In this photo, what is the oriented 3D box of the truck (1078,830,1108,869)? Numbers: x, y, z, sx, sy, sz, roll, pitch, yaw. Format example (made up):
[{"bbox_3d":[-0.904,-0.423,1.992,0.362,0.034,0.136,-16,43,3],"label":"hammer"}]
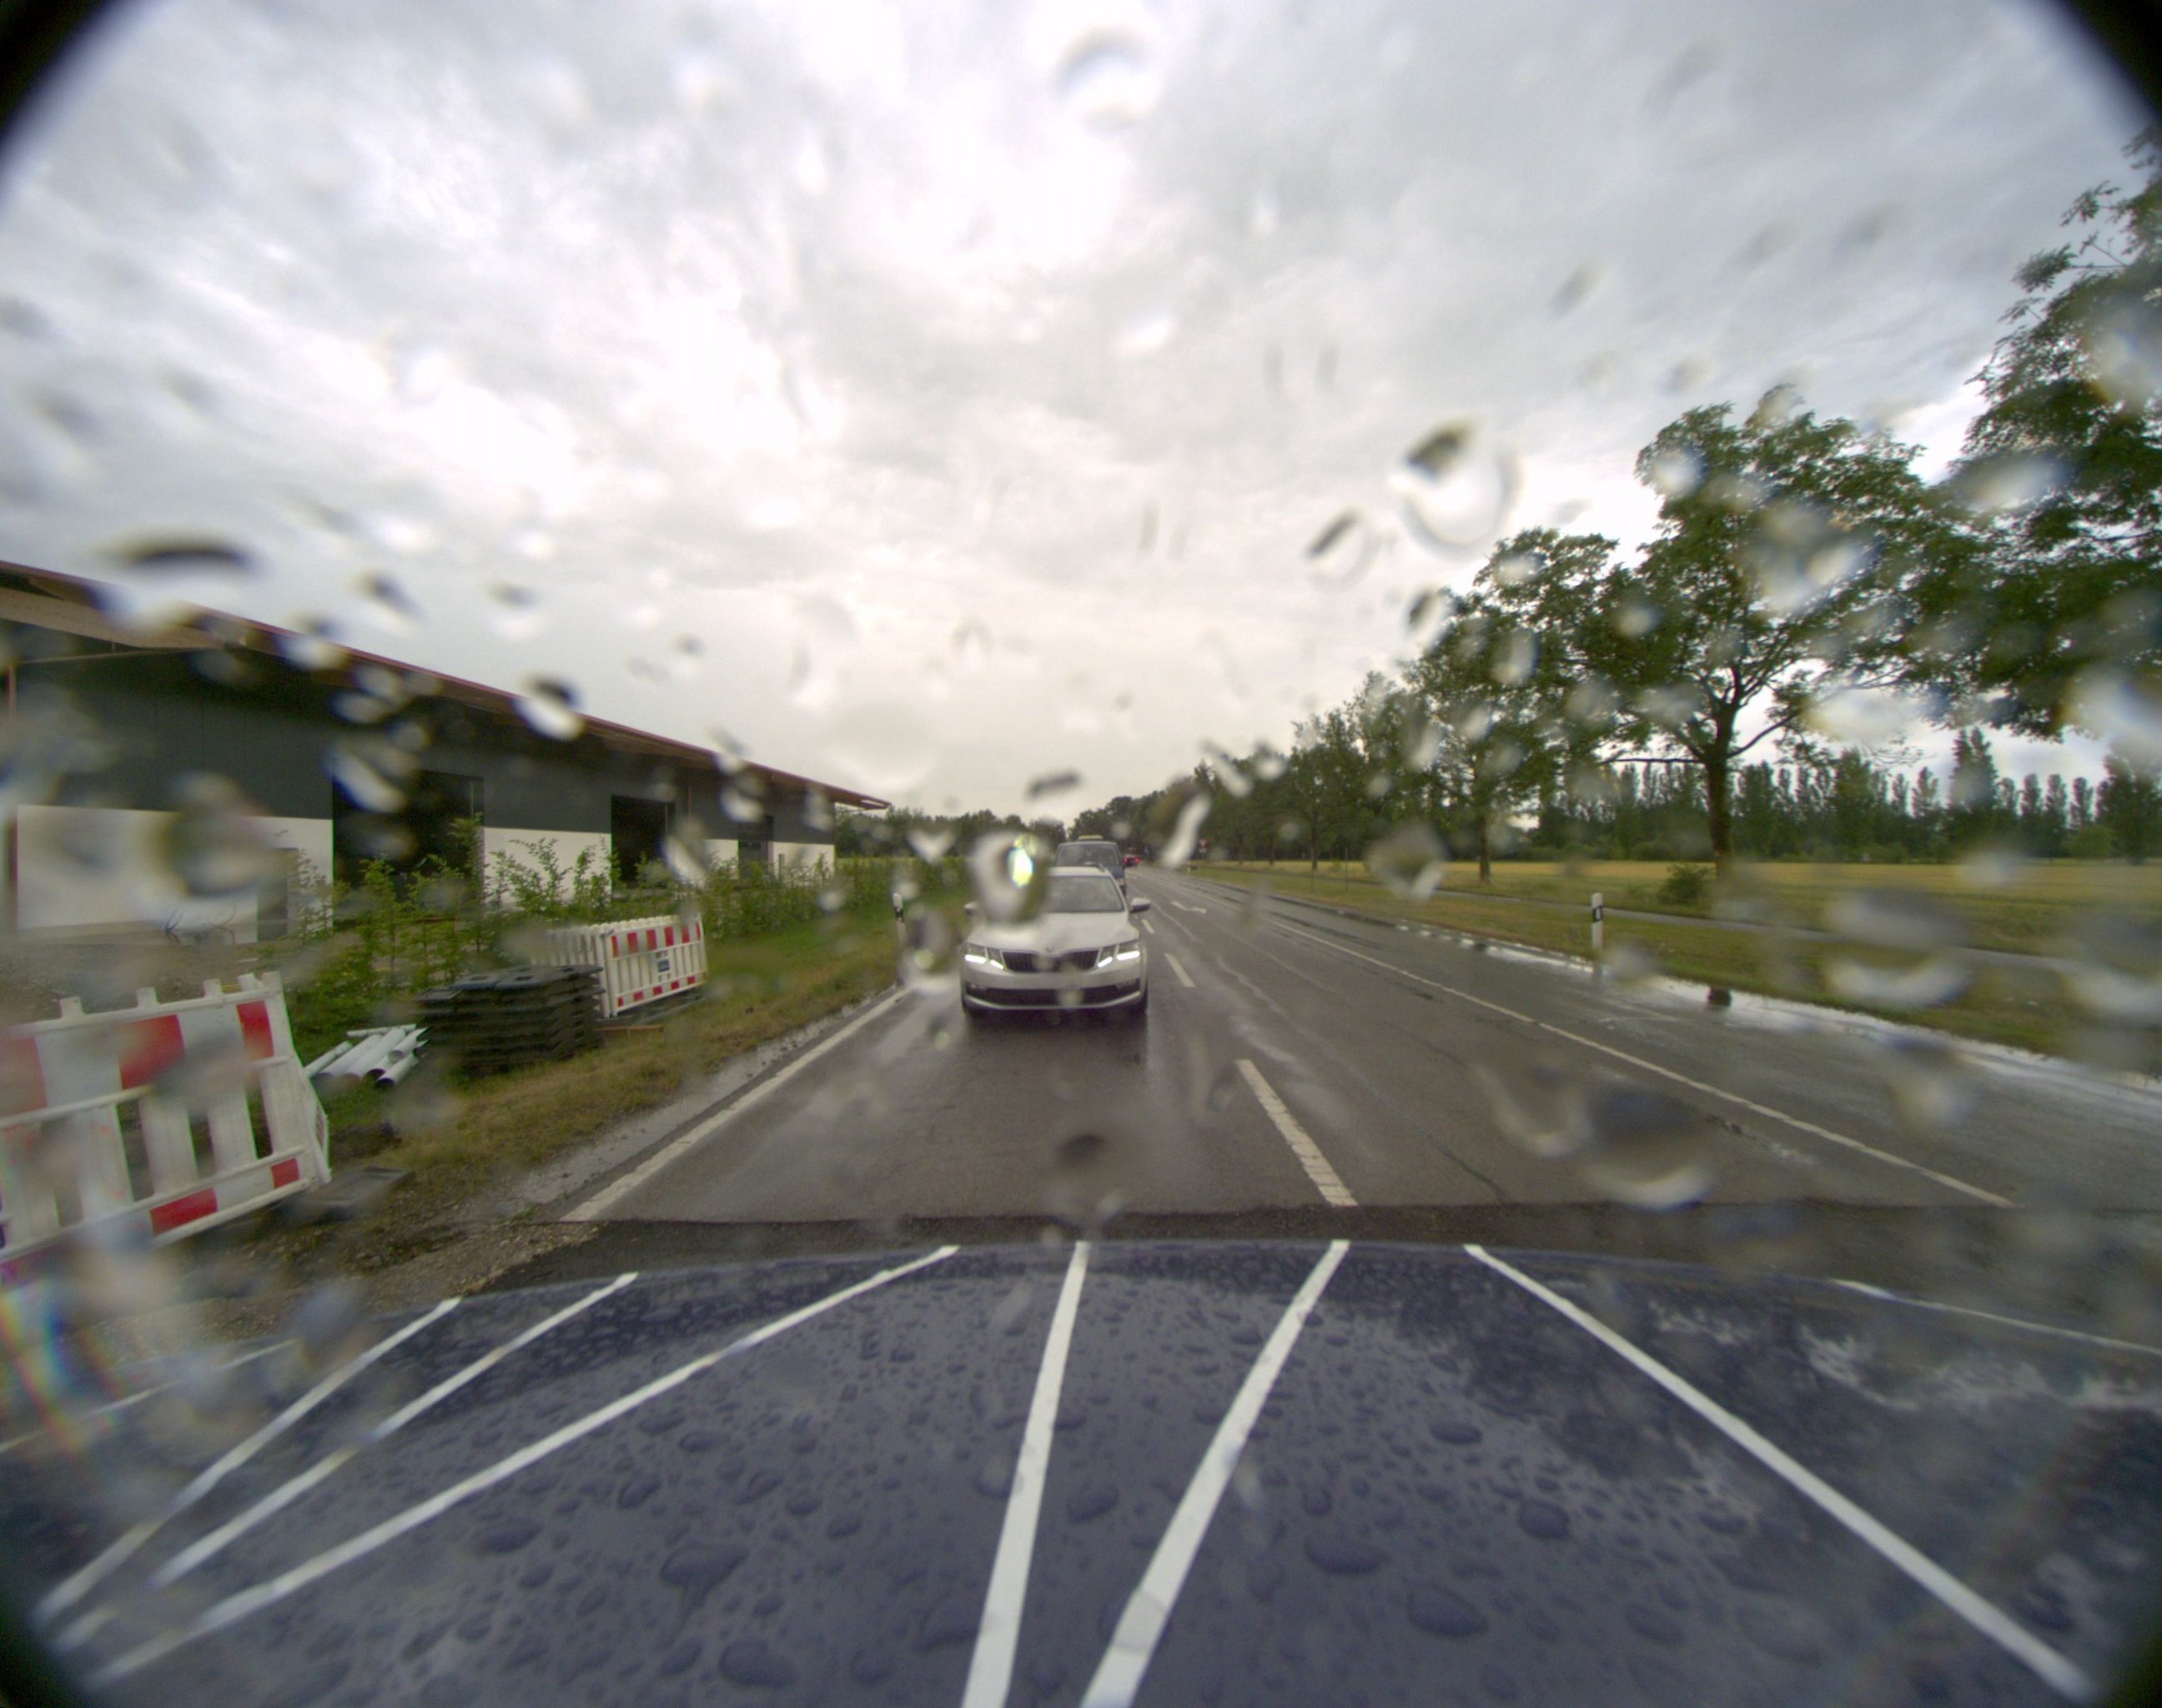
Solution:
[{"bbox_3d":[1.270,-0.419,81.881,2.931,3.828,14.120,0,0,1],"label":"truck"}]

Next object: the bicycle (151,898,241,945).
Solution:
[{"bbox_3d":[-23.115,1.741,19.885,0.391,1.066,1.661,0,0,1],"label":"bicycle"}]

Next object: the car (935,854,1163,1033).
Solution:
[{"bbox_3d":[-0.236,0.751,8.619,1.843,1.379,4.569,-2,1,1],"label":"car"}]

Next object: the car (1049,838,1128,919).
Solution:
[{"bbox_3d":[0.205,0.581,20.213,1.892,1.939,4.000,0,0,1],"label":"car"}]

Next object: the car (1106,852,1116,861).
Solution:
[{"bbox_3d":[5.620,0.513,141.702,1.708,1.661,4.156,1,0,2],"label":"car"}]

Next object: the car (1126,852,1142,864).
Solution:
[{"bbox_3d":[6.552,0.462,94.597,1.724,1.396,4.043,1,0,0],"label":"car"}]

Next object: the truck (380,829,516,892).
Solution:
[{"bbox_3d":[-32.500,0.309,39.311,2.496,2.996,5.344,0,0,1],"label":"truck"}]

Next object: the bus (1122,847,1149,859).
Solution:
[{"bbox_3d":[13.612,-0.320,188.366,2.953,2.895,12.494,1,1,21],"label":"bus"}]
